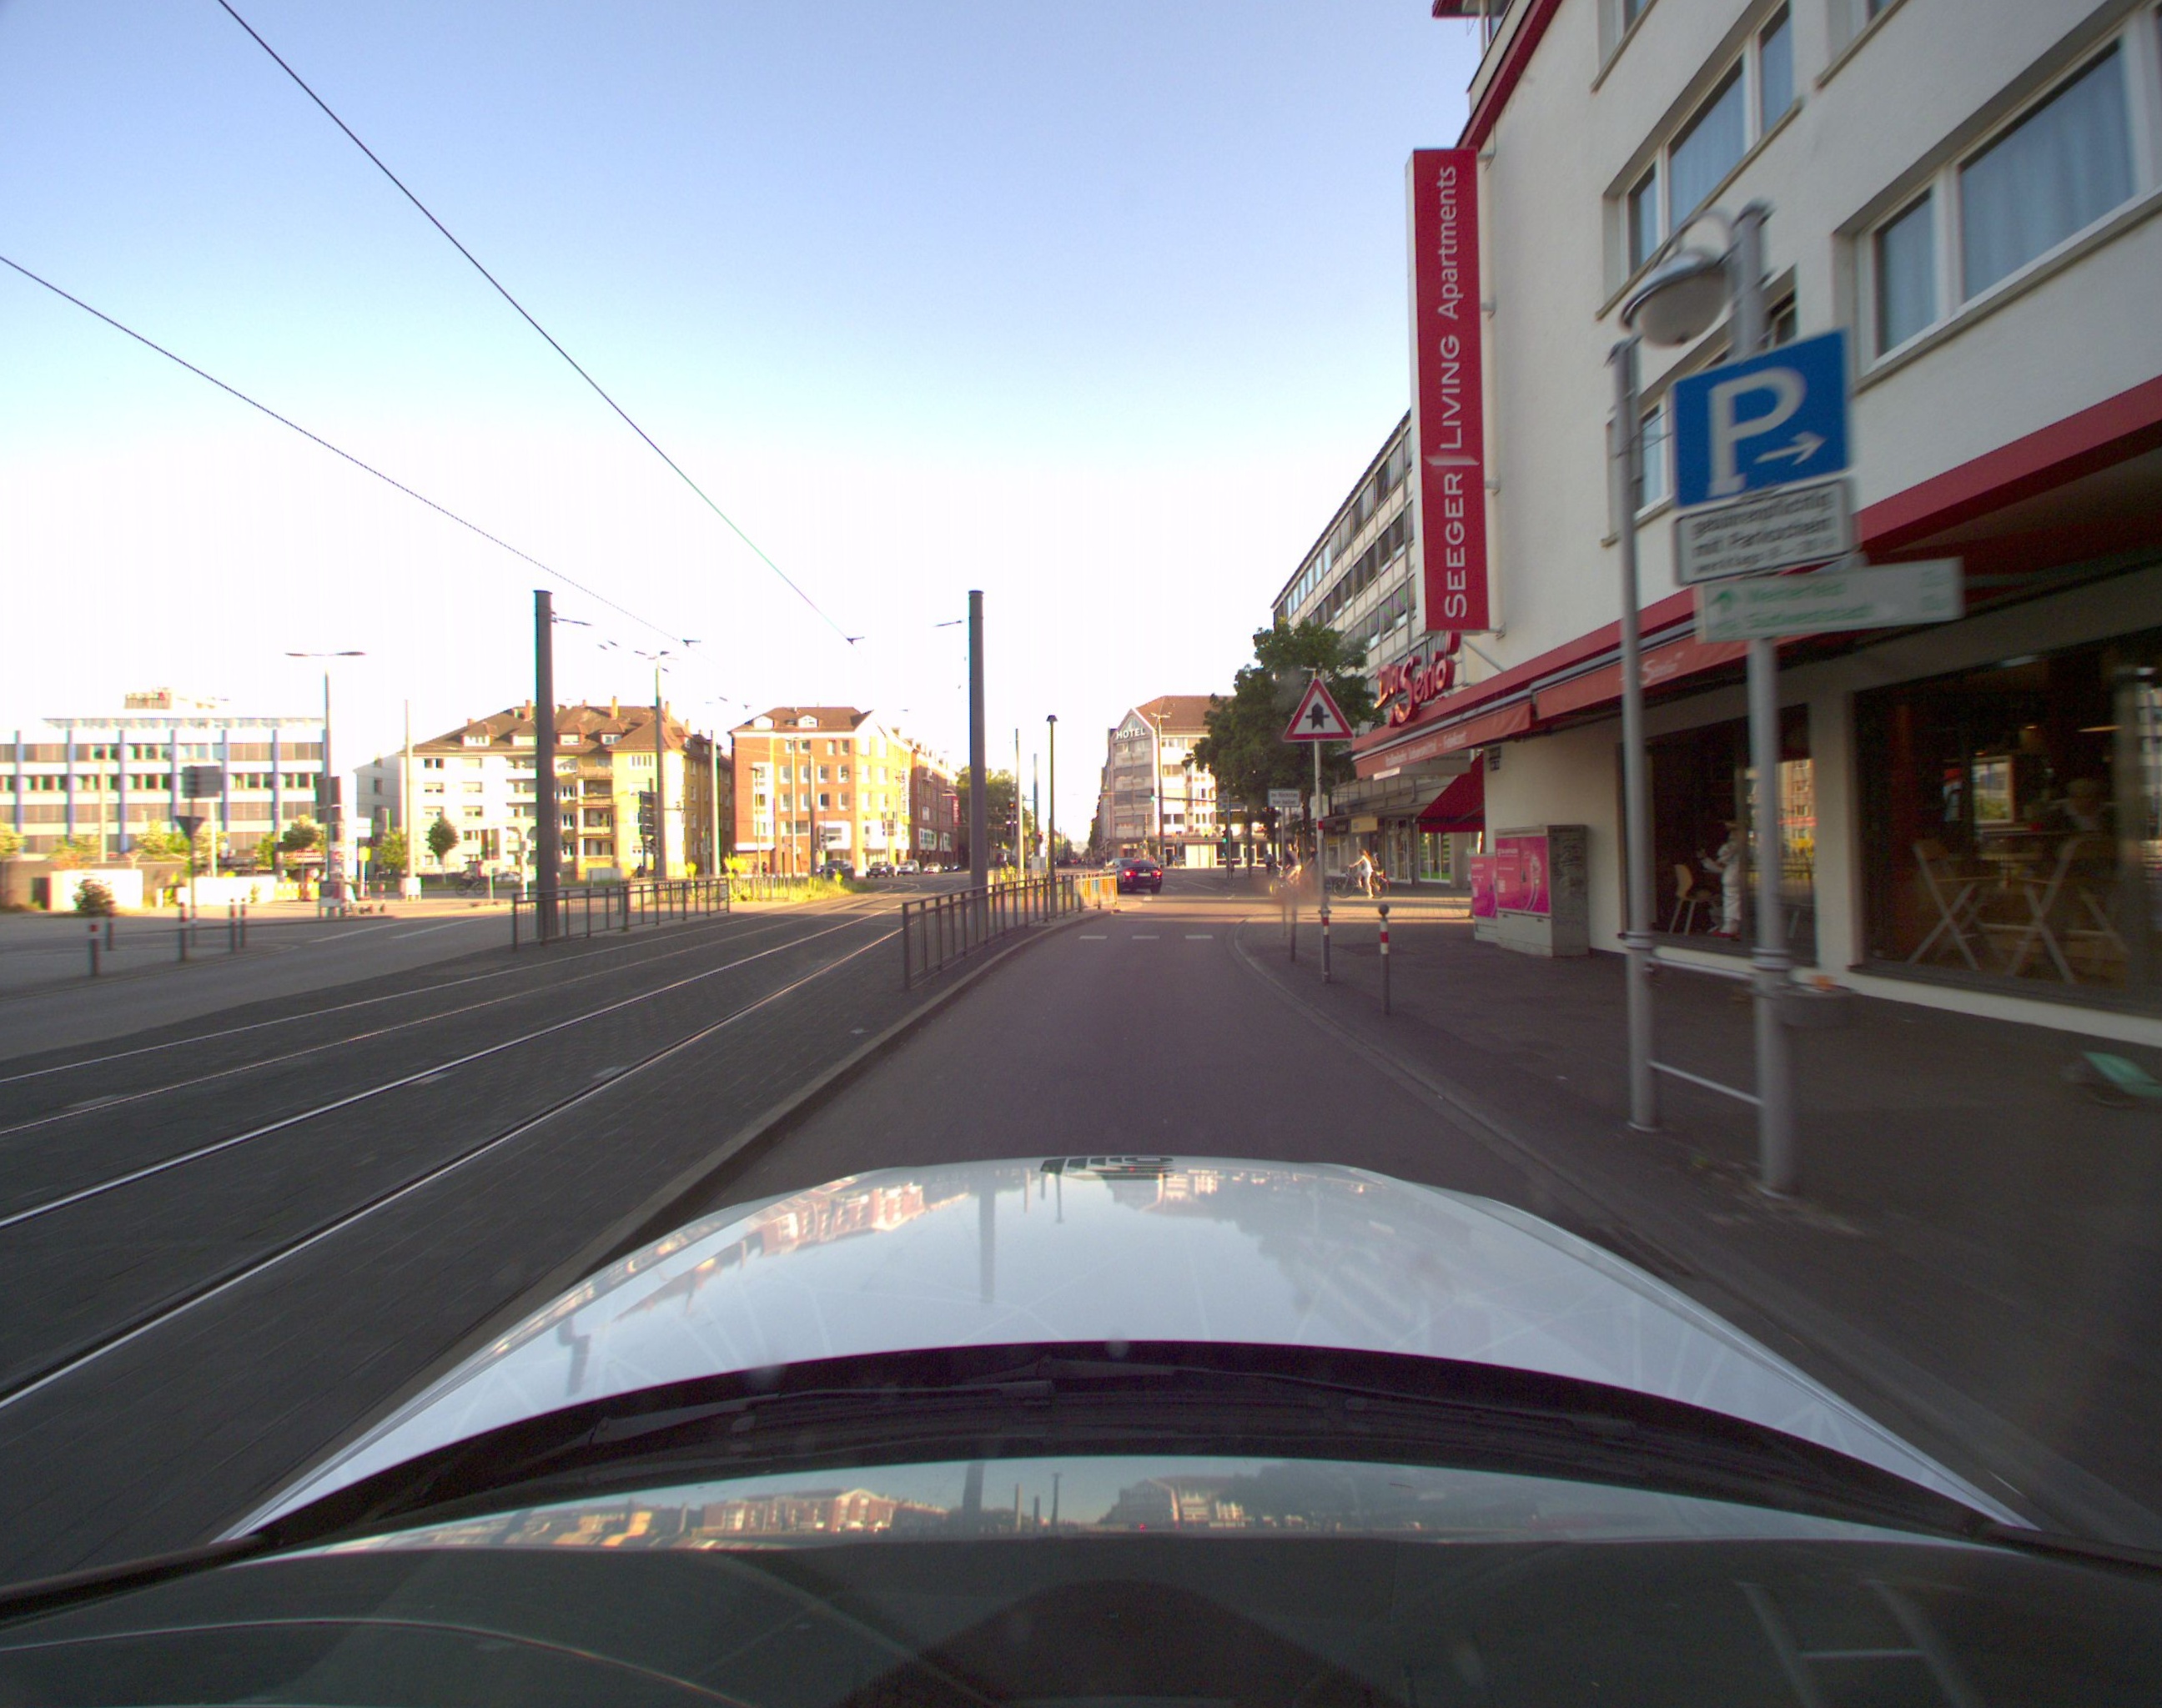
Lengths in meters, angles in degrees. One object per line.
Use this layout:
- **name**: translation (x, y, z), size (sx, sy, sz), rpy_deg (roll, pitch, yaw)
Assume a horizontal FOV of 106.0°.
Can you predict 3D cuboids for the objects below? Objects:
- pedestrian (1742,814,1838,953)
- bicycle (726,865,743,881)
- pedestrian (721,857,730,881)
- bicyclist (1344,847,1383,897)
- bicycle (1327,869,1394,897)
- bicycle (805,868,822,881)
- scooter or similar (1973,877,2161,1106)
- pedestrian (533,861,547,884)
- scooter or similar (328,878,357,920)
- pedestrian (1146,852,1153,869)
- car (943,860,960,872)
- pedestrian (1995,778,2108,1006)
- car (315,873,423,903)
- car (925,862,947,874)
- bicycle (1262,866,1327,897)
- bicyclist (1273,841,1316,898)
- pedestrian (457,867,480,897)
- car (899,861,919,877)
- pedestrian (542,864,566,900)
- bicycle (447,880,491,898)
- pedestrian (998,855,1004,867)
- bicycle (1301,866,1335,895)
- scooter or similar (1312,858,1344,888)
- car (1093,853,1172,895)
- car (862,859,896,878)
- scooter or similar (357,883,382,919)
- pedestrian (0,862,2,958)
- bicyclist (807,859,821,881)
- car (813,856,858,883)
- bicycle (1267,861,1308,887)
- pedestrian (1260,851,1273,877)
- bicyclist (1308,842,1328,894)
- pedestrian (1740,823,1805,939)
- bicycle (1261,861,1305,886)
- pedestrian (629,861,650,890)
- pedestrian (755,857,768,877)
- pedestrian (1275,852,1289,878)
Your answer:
- **pedestrian**: translation (7.195, 0.285, 8.280), size (0.521, 1.359, 0.503), rpy_deg (-1, -1, -11)
- **bicycle**: translation (-28.093, 1.527, 66.054), size (0.616, 1.325, 2.013), rpy_deg (1, 0, -4)
- **pedestrian**: translation (-28.663, 1.194, 65.625), size (0.501, 1.868, 0.562), rpy_deg (1, -1, -5)
- **bicyclist**: translation (9.325, 0.583, 26.841), size (1.101, 1.623, 0.845), rpy_deg (-1, 0, 24)
- **bicycle**: translation (9.228, 0.948, 26.882), size (1.988, 0.881, 0.845), rpy_deg (-1, -1, 24)
- **bicycle**: translation (-21.252, 1.608, 64.722), size (0.662, 1.008, 1.626), rpy_deg (-1, 0, 7)
- **scooter or similar**: translation (5.849, 0.737, 4.475), size (0.358, 1.202, 1.235), rpy_deg (-1, 0, -38)
- **pedestrian**: translation (-44.527, 1.499, 67.036), size (0.721, 1.868, 0.879), rpy_deg (-1, 0, -20)
- **scooter or similar**: translation (-26.500, 1.610, 29.206), size (1.240, 1.446, 0.521), rpy_deg (-2, -1, 37)
- **pedestrian**: translation (7.468, 0.719, 88.794), size (0.683, 1.854, 0.670), rpy_deg (-1, -1, -4)
- **car**: translation (-18.839, 1.741, 118.640), size (1.988, 1.585, 4.475), rpy_deg (-1, 0, -2)
- **pedestrian**: translation (7.932, 0.294, 6.680), size (0.607, 1.760, 0.520), rpy_deg (-1, -1, -44)
- **car**: translation (-43.664, 2.056, 50.058), size (4.570, 1.618, 1.985), rpy_deg (-1, 0, -23)
- **car**: translation (-18.452, 1.811, 103.648), size (1.661, 1.448, 4.209), rpy_deg (-1, 0, 6)
- **bicycle**: translation (7.353, 0.942, 28.132), size (0.844, 1.020, 2.054), rpy_deg (-1, 0, -37)
- **bicyclist**: translation (7.360, 0.514, 28.104), size (0.844, 1.917, 1.102), rpy_deg (-1, 0, -37)
- **pedestrian**: translation (-39.061, 1.774, 51.917), size (0.844, 1.910, 0.891), rpy_deg (-1, -1, -11)
- **car**: translation (-17.863, 1.497, 84.734), size (1.995, 1.585, 4.097), rpy_deg (-1, 0, -11)
- **pedestrian**: translation (-28.671, 1.504, 44.312), size (0.885, 1.868, 0.969), rpy_deg (-1, 0, -21)
- **bicycle**: translation (-39.006, 2.221, 51.939), size (2.004, 1.060, 0.891), rpy_deg (-1, 0, -11)
- **pedestrian**: translation (-13.107, 1.148, 133.109), size (0.985, 2.014, 0.725), rpy_deg (0, -1, -1)
- **bicycle**: translation (8.485, 0.936, 29.164), size (0.464, 0.970, 1.795), rpy_deg (-1, 0, -8)
- **scooter or similar**: translation (10.394, 0.813, 34.274), size (1.262, 1.235, 0.340), rpy_deg (-1, -1, 42)
- **car**: translation (2.065, 0.783, 33.872), size (1.998, 1.585, 3.978), rpy_deg (-2, 0, -16)
- **car**: translation (-17.676, 1.243, 71.550), size (1.988, 1.585, 4.583), rpy_deg (-1, 0, -2)
- **scooter or similar**: translation (-26.128, 1.725, 29.902), size (1.240, 1.272, 0.520), rpy_deg (-2, -1, 43)
- **pedestrian**: translation (-21.782, 1.110, 15.855), size (0.720, 1.893, 0.770), rpy_deg (-1, -1, 24)
- **bicyclist**: translation (-21.256, 1.247, 64.766), size (0.659, 1.688, 0.981), rpy_deg (-1, 0, 7)
- **car**: translation (-18.071, 1.095, 60.210), size (1.989, 1.901, 4.807), rpy_deg (-1, 0, -2)
- **bicycle**: translation (10.035, 0.960, 39.666), size (1.892, 1.235, 0.670), rpy_deg (-1, 0, 11)
- **pedestrian**: translation (11.726, 0.625, 51.410), size (0.681, 1.667, 0.671), rpy_deg (-1, -1, 3)
- **bicyclist**: translation (8.485, 0.492, 29.132), size (0.464, 1.830, 0.558), rpy_deg (-1, 0, -8)
- **pedestrian**: translation (7.571, 0.283, 8.915), size (0.498, 1.217, 0.526), rpy_deg (-2, -1, 42)
- **bicycle**: translation (9.591, 0.921, 38.756), size (1.983, 1.110, 0.670), rpy_deg (-1, 0, 13)
- **pedestrian**: translation (-30.832, 1.493, 56.902), size (1.100, 1.944, 1.018), rpy_deg (-1, 0, -19)
- **pedestrian**: translation (-30.507, 1.261, 77.715), size (0.940, 1.868, 0.836), rpy_deg (1, -1, -9)
- **pedestrian**: translation (12.722, 0.701, 51.603), size (0.720, 1.667, 0.671), rpy_deg (-1, -1, 3)
